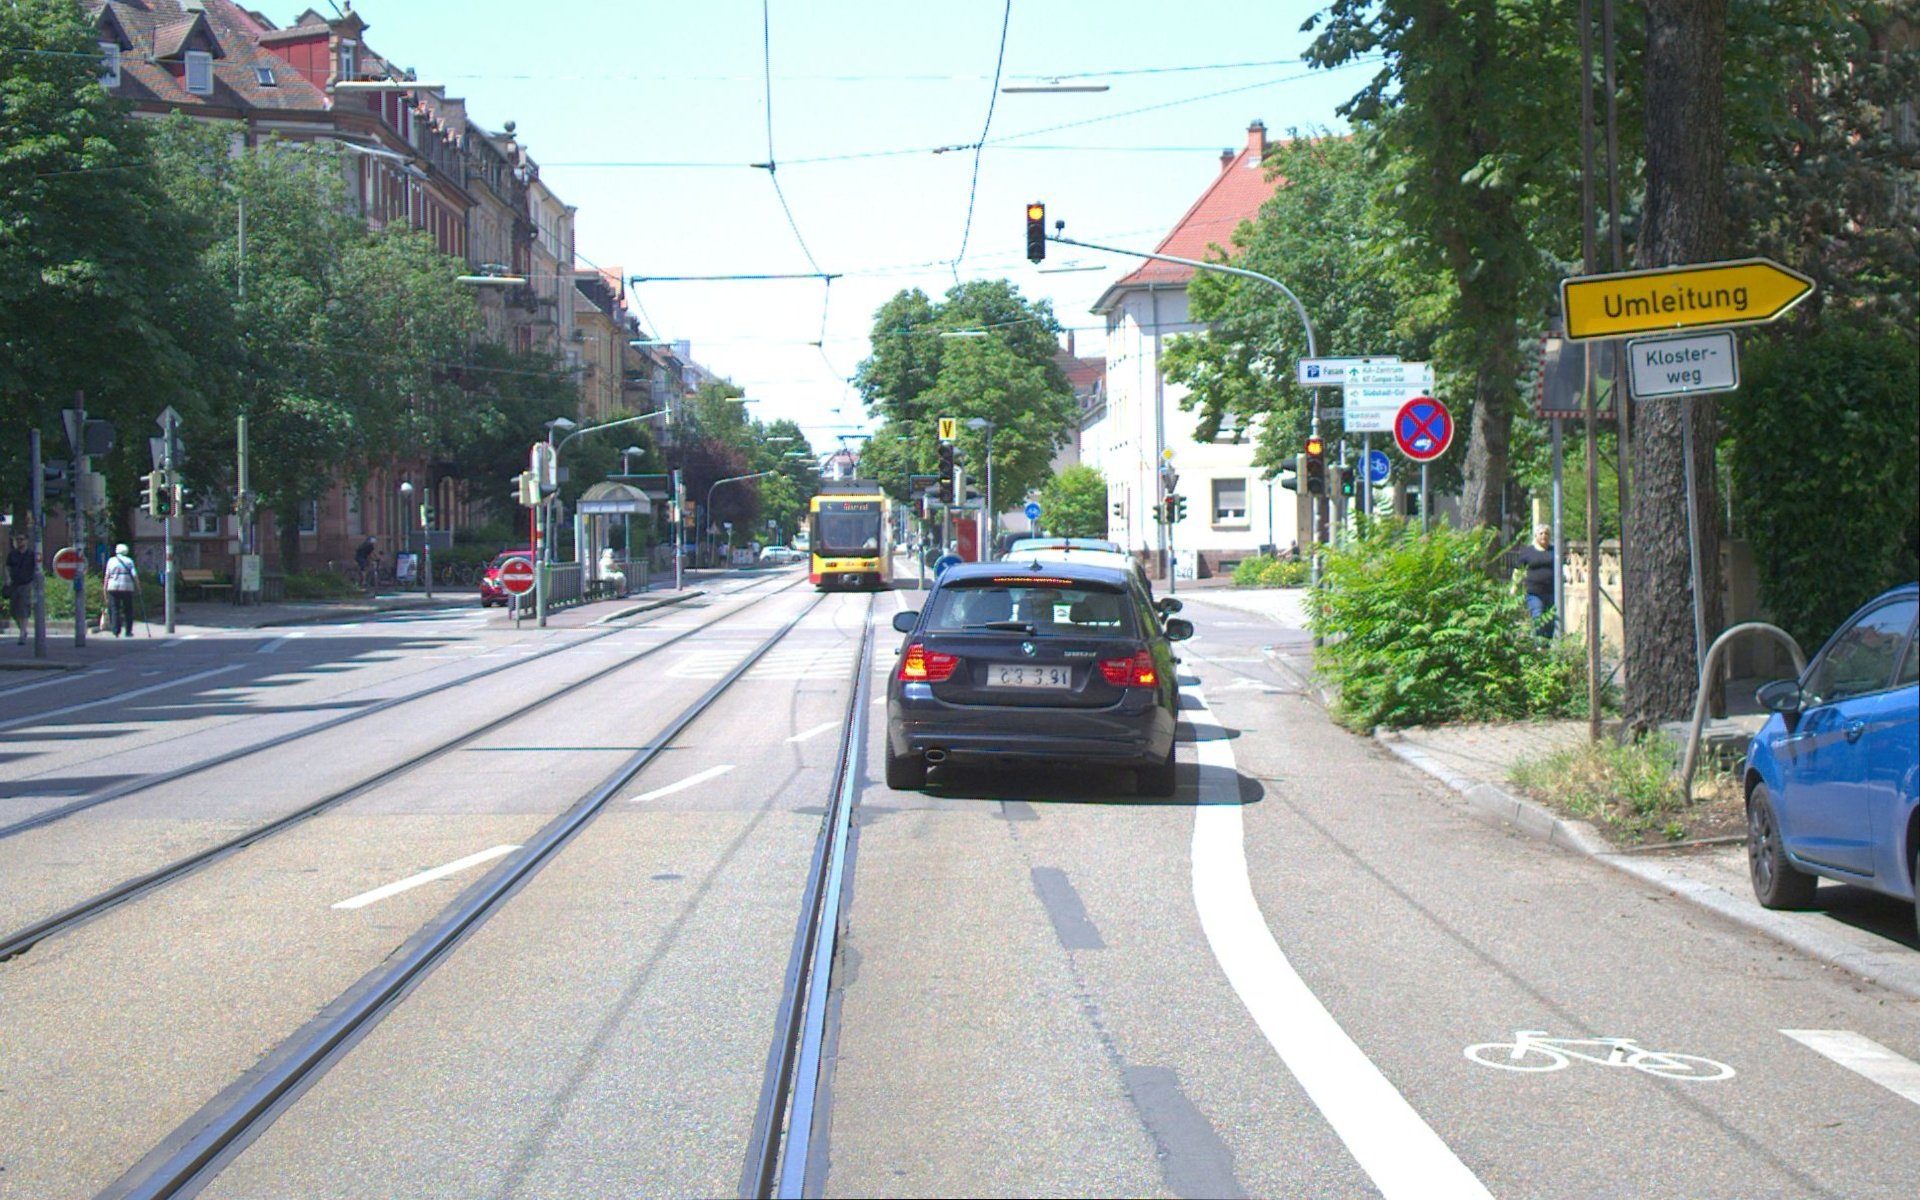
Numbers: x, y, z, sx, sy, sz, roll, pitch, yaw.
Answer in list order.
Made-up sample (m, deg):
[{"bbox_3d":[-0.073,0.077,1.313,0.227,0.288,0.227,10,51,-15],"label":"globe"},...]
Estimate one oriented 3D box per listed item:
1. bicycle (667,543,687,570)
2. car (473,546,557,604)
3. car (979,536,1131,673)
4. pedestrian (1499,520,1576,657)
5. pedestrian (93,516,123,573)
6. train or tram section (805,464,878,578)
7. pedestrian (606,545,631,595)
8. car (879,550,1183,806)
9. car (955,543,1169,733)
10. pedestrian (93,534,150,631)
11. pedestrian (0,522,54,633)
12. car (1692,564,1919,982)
[{"bbox_3d":[-11.811,-1.811,143.446,0.729,1.098,1.716,-1,1,-1],"label":"bicycle"},{"bbox_3d":[-11.706,-0.681,90.689,1.822,1.408,4.429,-2,1,-3],"label":"car"},{"bbox_3d":[1.159,0.014,40.975,1.691,1.508,3.821,1,1,2],"label":"car"},{"bbox_3d":[6.989,-0.144,41.661,0.857,1.640,0.836,-1,1,6],"label":"pedestrian"},{"bbox_3d":[-26.818,-1.751,108.188,0.738,1.805,0.641,-1,1,-34],"label":"pedestrian"},{"bbox_3d":[-3.744,-2.507,109.990,2.190,3.470,8.846,-1,1,-1],"label":"train or tram section"},{"bbox_3d":[-8.558,-0.752,86.078,0.613,1.238,0.628,-1,1,-7],"label":"pedestrian"},{"bbox_3d":[0.498,0.417,22.172,1.723,1.404,4.564,2,1,2],"label":"car"},{"bbox_3d":[0.844,0.274,29.248,1.685,1.479,3.684,-1,1,1],"label":"car"},{"bbox_3d":[-15.076,-0.324,61.863,0.916,1.717,0.840,-1,1,-9],"label":"pedestrian"},{"bbox_3d":[-16.181,-0.399,59.139,0.900,1.884,1.165,0,1,-2],"label":"pedestrian"},{"bbox_3d":[4.217,0.602,13.653,1.677,1.438,3.721,-2,1,-2],"label":"car"}]
